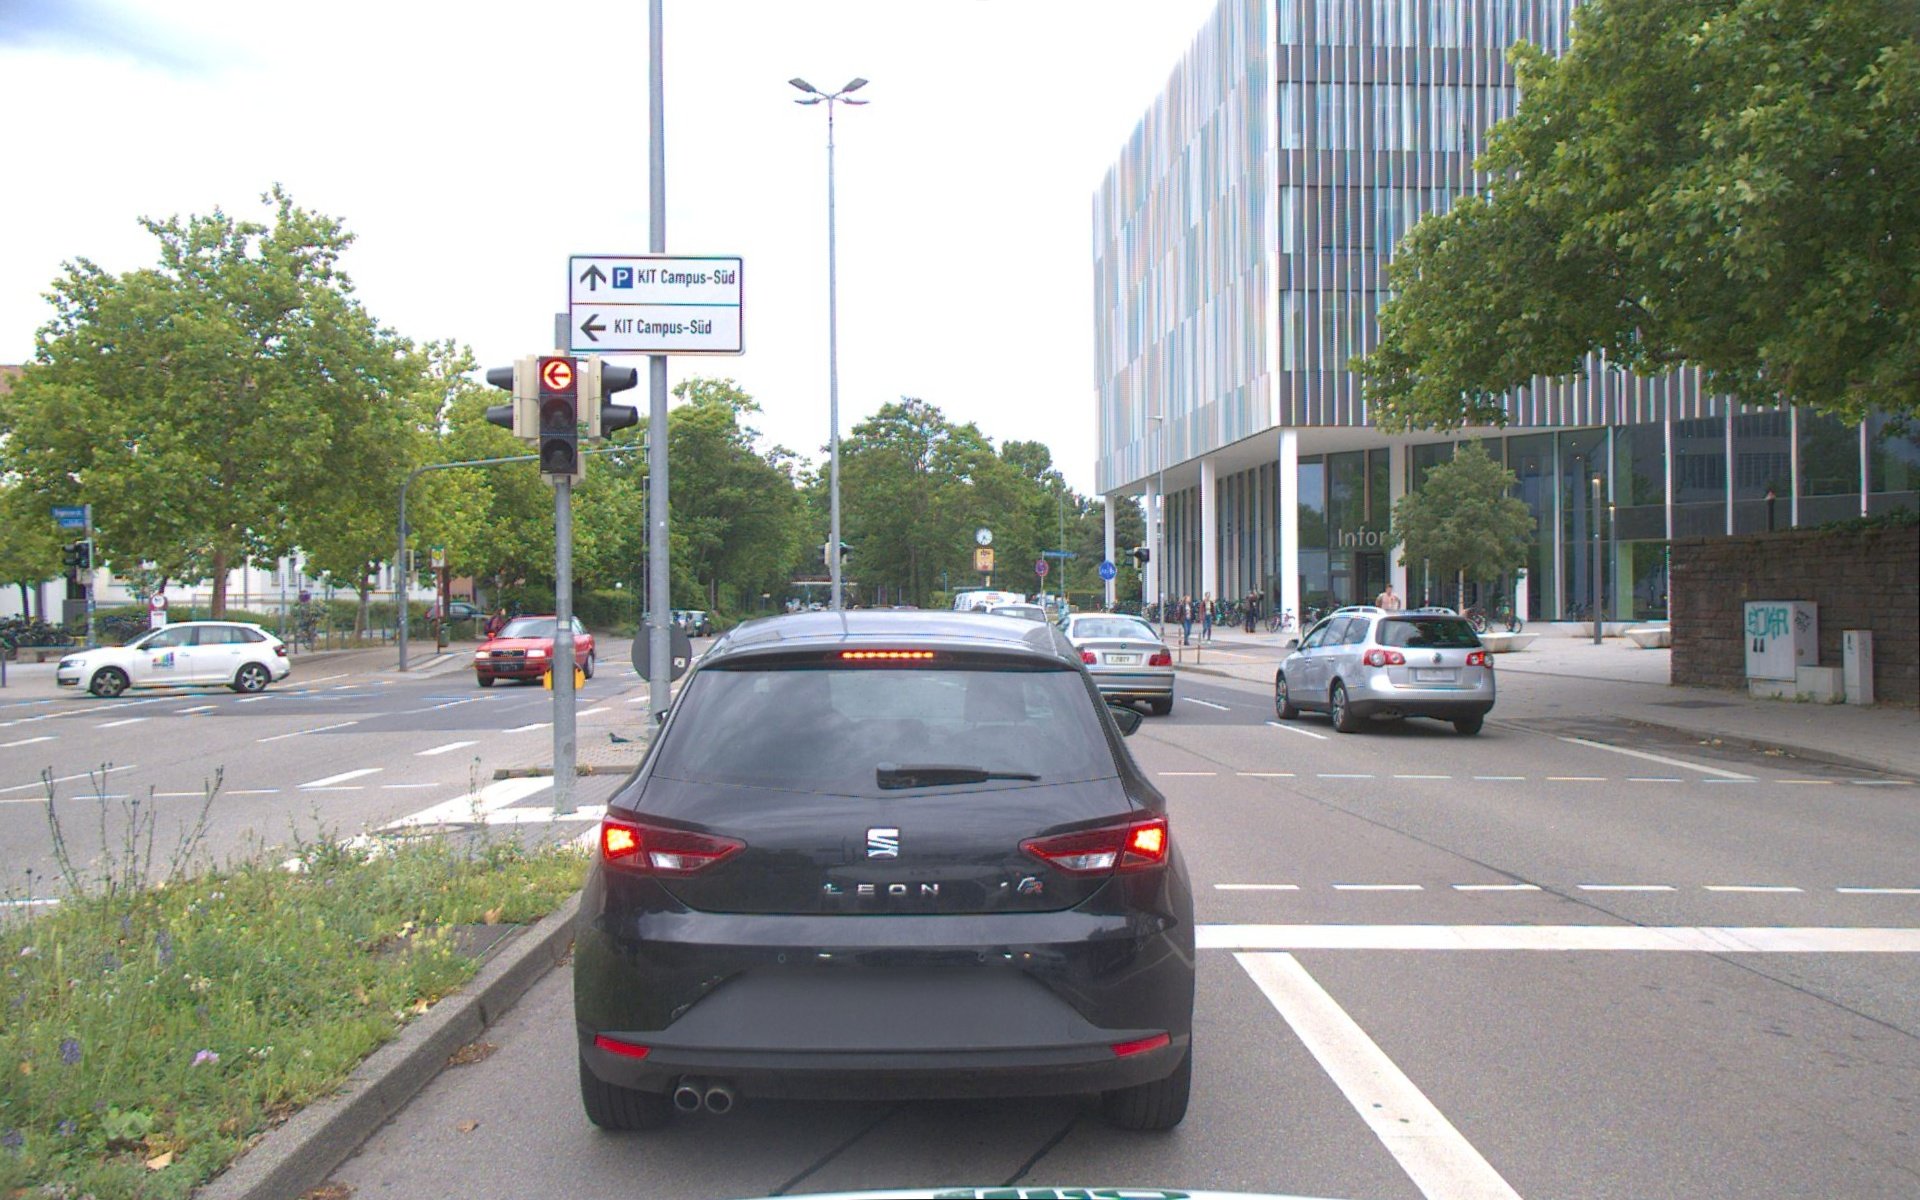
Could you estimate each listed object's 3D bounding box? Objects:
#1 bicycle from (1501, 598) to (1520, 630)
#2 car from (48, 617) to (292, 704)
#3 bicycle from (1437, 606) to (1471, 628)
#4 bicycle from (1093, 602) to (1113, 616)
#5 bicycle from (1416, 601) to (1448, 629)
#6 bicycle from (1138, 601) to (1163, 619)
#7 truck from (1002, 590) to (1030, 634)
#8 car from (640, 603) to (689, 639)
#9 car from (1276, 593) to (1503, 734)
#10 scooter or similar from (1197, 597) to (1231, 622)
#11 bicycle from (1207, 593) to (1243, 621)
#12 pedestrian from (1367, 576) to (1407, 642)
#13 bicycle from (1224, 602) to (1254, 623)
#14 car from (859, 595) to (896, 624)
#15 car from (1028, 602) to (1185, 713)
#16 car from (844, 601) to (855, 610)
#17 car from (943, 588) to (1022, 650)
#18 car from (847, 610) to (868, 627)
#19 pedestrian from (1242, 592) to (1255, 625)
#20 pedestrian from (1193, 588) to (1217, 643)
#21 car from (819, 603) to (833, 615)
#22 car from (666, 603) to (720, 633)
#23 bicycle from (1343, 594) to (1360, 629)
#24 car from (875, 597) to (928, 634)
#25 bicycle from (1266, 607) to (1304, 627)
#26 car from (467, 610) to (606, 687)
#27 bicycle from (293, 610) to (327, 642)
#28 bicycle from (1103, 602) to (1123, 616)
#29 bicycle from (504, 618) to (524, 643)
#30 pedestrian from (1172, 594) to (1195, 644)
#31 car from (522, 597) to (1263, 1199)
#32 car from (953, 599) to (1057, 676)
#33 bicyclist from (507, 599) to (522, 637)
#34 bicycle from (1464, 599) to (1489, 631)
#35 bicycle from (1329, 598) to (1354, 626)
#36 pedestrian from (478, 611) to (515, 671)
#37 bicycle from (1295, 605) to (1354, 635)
[{"bbox_3d":[19.621,0.492,58.963,0.609,1.074,1.950,-2,1,19],"label":"bicycle"},{"bbox_3d":[-15.824,1.166,33.212,4.180,1.456,1.689,-3,1,-36],"label":"car"},{"bbox_3d":[18.198,0.612,60.909,1.515,0.728,0.511,-3,1,-44],"label":"bicycle"},{"bbox_3d":[9.431,0.609,109.076,1.241,0.863,0.479,2,-1,-23],"label":"bicycle"},{"bbox_3d":[17.585,0.560,61.571,0.682,0.963,1.981,-2,1,29],"label":"bicycle"},{"bbox_3d":[10.605,0.561,92.005,1.357,0.958,0.488,-1,0,6],"label":"bicycle"},{"bbox_3d":[3.055,0.638,90.571,1.291,2.282,3.401,-2,1,-1],"label":"truck"},{"bbox_3d":[-15.335,1.065,86.002,1.868,1.747,3.999,-2,1,-1],"label":"car"},{"bbox_3d":[5.303,0.763,21.024,1.787,1.578,4.527,1,-1,1],"label":"car"},{"bbox_3d":[12.076,0.451,78.482,1.655,1.126,0.493,-3,1,-33],"label":"scooter or similar"},{"bbox_3d":[12.484,0.323,77.910,1.758,1.232,0.563,-3,1,-35],"label":"bicycle"},{"bbox_3d":[11.825,0.239,45.820,0.830,1.795,0.767,-2,0,-1],"label":"pedestrian"},{"bbox_3d":[12.842,0.573,76.208,1.421,0.872,0.361,-2,0,-28],"label":"bicycle"},{"bbox_3d":[-5.179,0.598,103.075,1.879,1.693,4.107,-2,1,-8],"label":"car"},{"bbox_3d":[2.086,0.789,24.581,1.688,1.439,4.242,0,1,-4],"label":"car"},{"bbox_3d":[-15.191,0.778,227.076,1.475,1.214,3.160,-2,1,-4],"label":"car"},{"bbox_3d":[0.721,0.623,57.108,1.930,2.007,4.333,1,0,-10],"label":"car"},{"bbox_3d":[-9.509,1.689,153.160,1.861,1.377,3.879,-2,1,-4],"label":"car"},{"bbox_3d":[12.020,0.352,68.897,0.462,1.385,0.446,-2,0,9],"label":"pedestrian"},{"bbox_3d":[8.200,0.510,55.327,0.673,1.812,0.677,0,0,-1],"label":"pedestrian"},{"bbox_3d":[-18.037,1.196,222.222,1.663,1.530,4.003,-2,1,-7],"label":"car"},{"bbox_3d":[-15.455,1.028,96.019,1.721,1.615,4.004,-2,1,12],"label":"car"},{"bbox_3d":[15.292,0.445,64.613,0.515,1.275,1.667,-2,1,17],"label":"bicycle"},{"bbox_3d":[-2.812,0.734,79.095,1.915,1.652,3.738,0,1,-12],"label":"car"},{"bbox_3d":[13.713,0.710,69.871,1.450,0.761,0.565,-2,0,-4],"label":"bicycle"},{"bbox_3d":[-8.994,0.987,35.438,1.678,1.443,4.296,-2,1,2],"label":"car"},{"bbox_3d":[-23.233,0.912,59.156,0.596,1.079,2.041,-2,1,-7],"label":"bicycle"},{"bbox_3d":[9.922,0.573,106.999,1.218,0.837,0.479,2,-1,-23],"label":"bicycle"},{"bbox_3d":[-19.727,1.331,73.237,0.478,1.023,1.590,1,1,-1],"label":"bicycle"},{"bbox_3d":[7.469,0.625,55.254,0.673,1.668,0.632,0,0,-1],"label":"pedestrian"},{"bbox_3d":[-0.110,0.734,5.741,1.717,1.457,3.770,1,0,1],"label":"car"},{"bbox_3d":[0.971,0.808,37.504,1.697,1.631,4.098,0,0,-8],"label":"car"},{"bbox_3d":[-19.717,0.807,73.222,0.481,1.653,0.588,1,1,-1],"label":"bicyclist"},{"bbox_3d":[18.715,0.526,59.875,0.792,1.074,1.950,-2,1,19],"label":"bicycle"},{"bbox_3d":[15.544,0.472,67.410,0.607,1.064,1.704,-2,1,25],"label":"bicycle"},{"bbox_3d":[-12.793,1.119,45.678,0.858,1.614,0.542,-2,0,-8],"label":"pedestrian"},{"bbox_3d":[12.426,0.671,56.372,1.860,0.914,0.693,-2,0,-22],"label":"bicycle"}]
